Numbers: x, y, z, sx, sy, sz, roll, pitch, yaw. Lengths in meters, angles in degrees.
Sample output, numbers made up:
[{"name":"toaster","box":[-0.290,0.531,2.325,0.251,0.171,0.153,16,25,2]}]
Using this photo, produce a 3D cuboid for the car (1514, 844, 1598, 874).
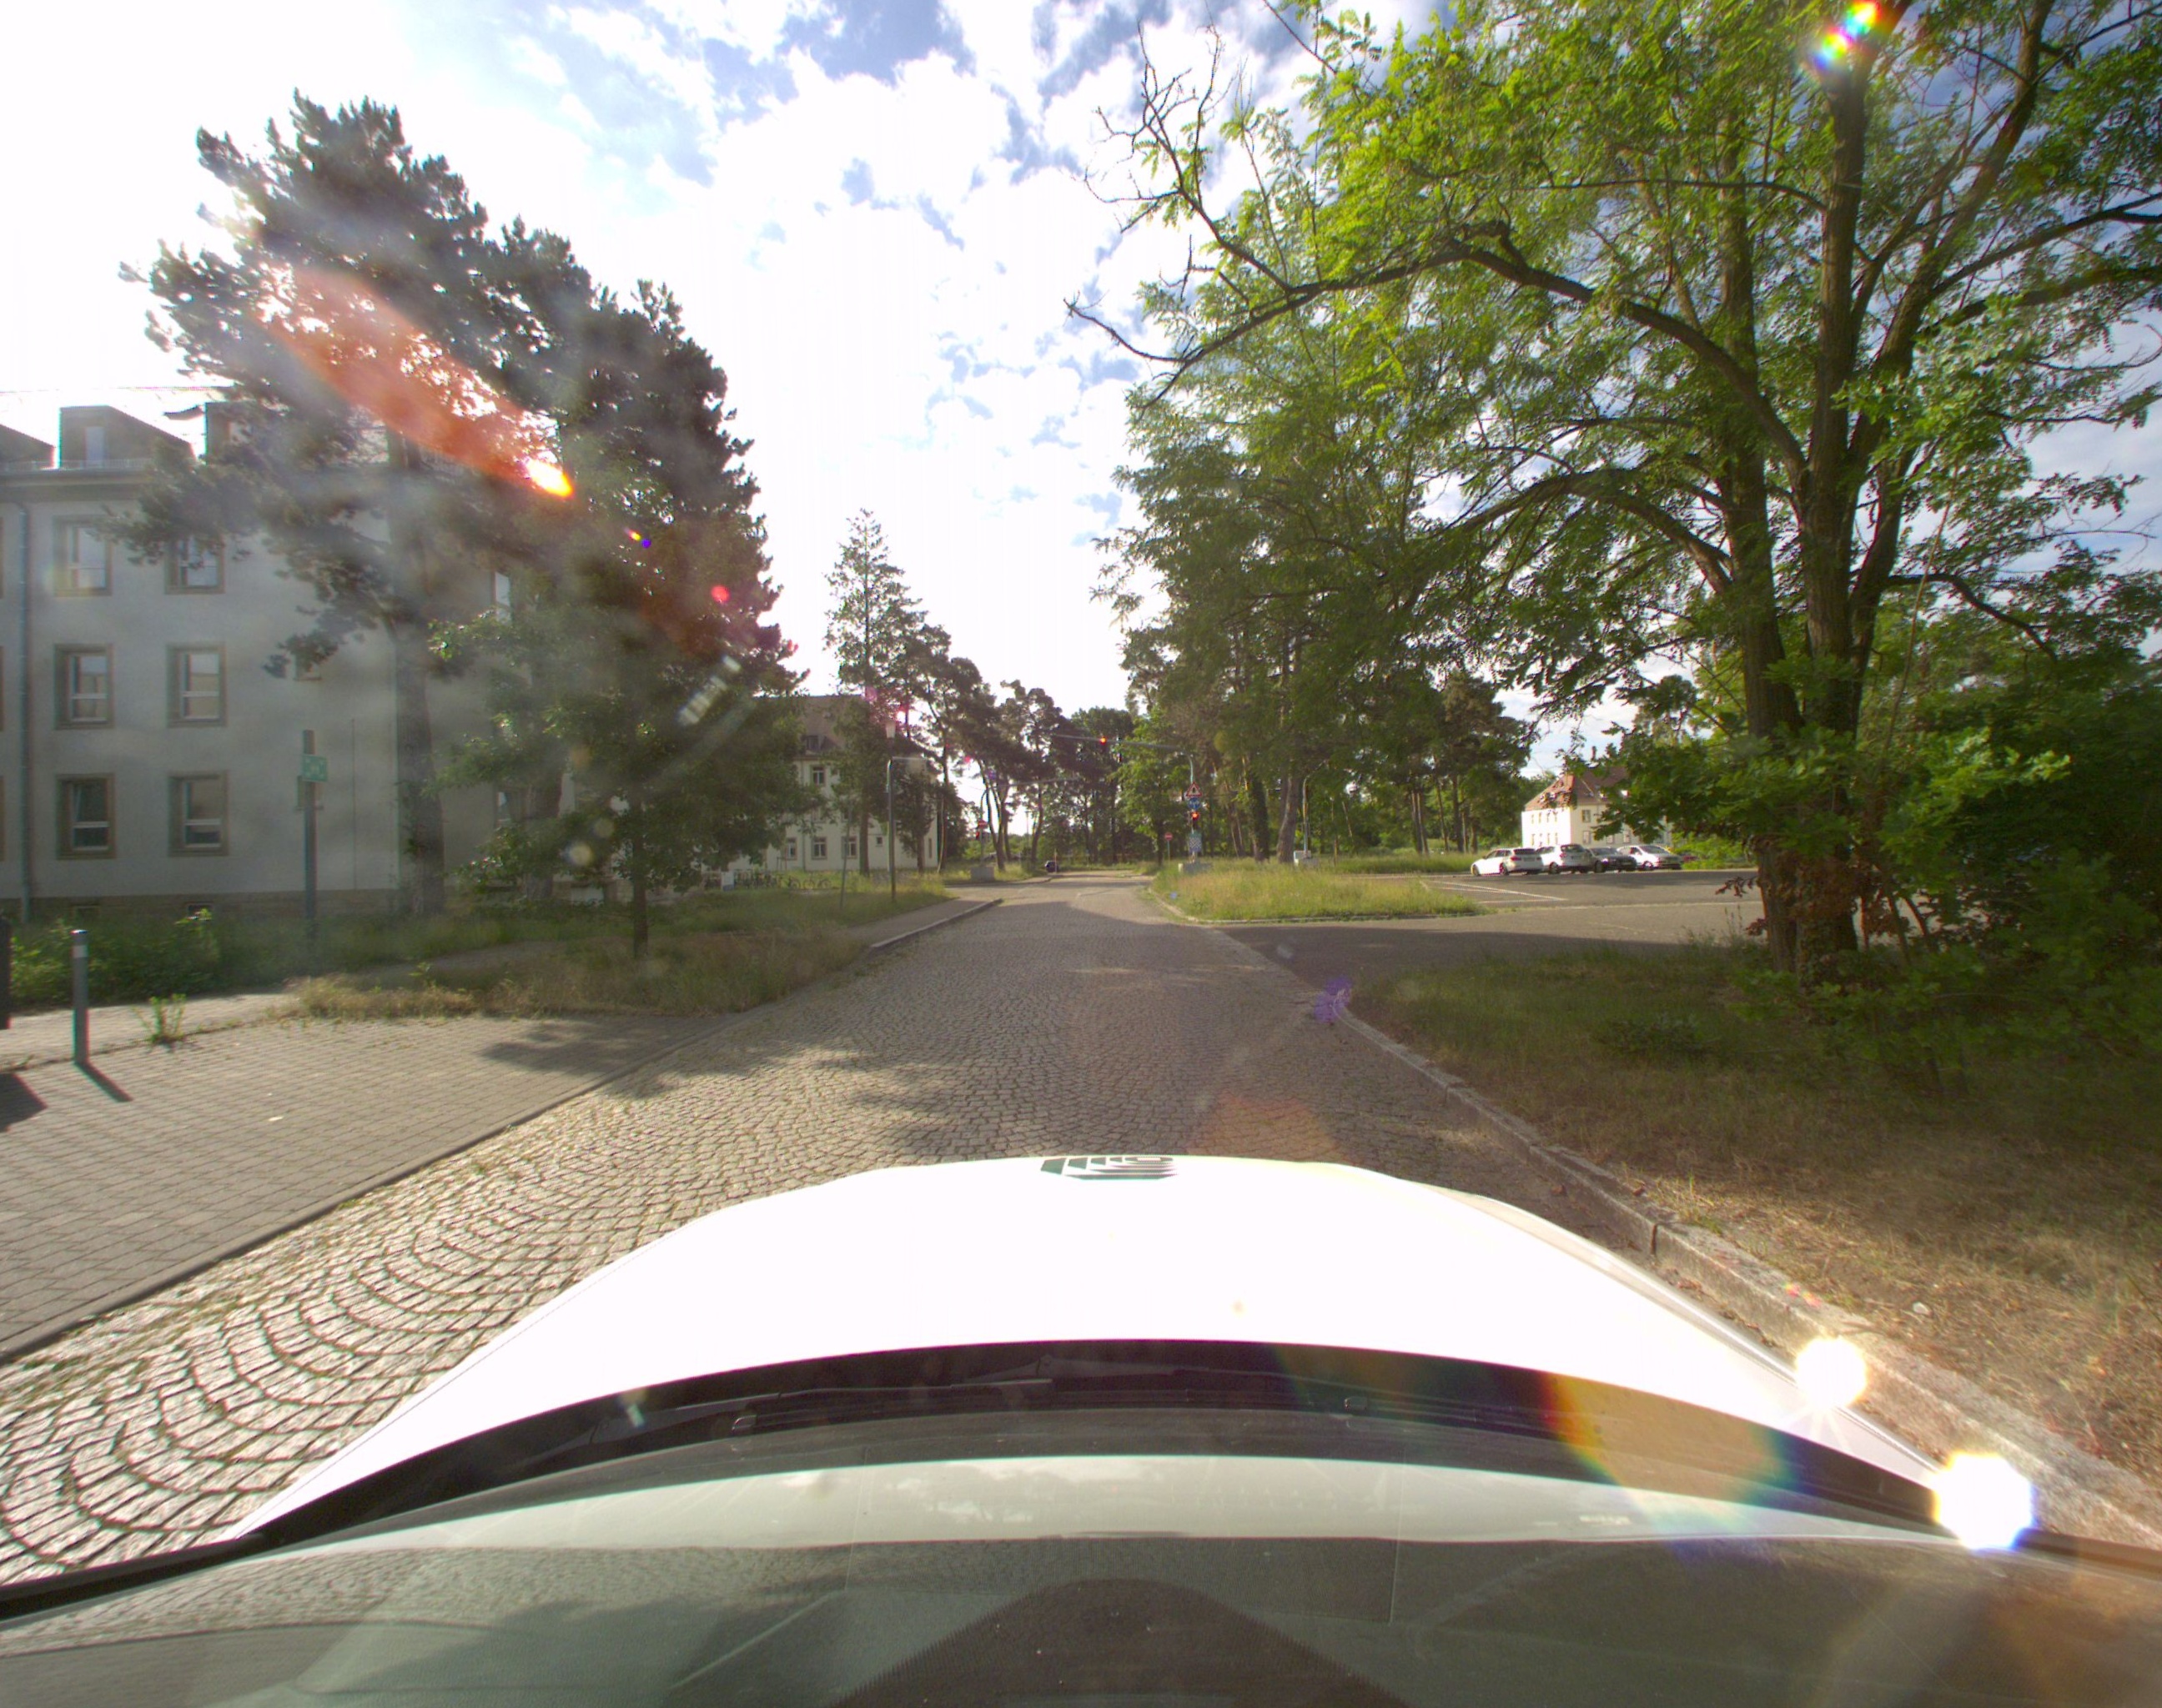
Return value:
[{"name":"car","box":[24.707,0.271,42.568,1.726,1.476,4.328,-2,0,-2]}]

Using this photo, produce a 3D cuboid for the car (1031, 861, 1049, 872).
[{"name":"car","box":[-5.571,1.714,111.007,1.772,1.490,3.764,-2,0,8]}]

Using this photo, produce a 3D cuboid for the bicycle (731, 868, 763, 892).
[{"name":"bicycle","box":[-20.615,1.581,50.356,0.823,1.437,2.554,-2,0,1]}]

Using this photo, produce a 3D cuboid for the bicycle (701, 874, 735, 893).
[{"name":"bicycle","box":[-22.288,1.794,50.064,0.897,1.047,2.554,-2,0,1]}]

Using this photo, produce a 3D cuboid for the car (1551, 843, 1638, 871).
[{"name":"car","box":[26.960,0.151,42.936,1.726,1.312,4.328,-3,0,-2]}]

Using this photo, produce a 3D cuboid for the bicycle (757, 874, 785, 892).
[{"name":"bicycle","box":[-19.046,1.781,50.044,0.823,1.047,2.124,-2,0,1]}]

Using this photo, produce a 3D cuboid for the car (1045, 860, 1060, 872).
[{"name":"car","box":[-3.658,1.606,106.217,1.840,1.486,3.998,-2,0,-1]}]

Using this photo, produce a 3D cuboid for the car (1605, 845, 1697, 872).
[{"name":"car","box":[30.061,0.225,43.112,1.726,1.312,4.328,-2,0,-2]}]

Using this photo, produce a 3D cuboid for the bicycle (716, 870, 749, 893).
[{"name":"bicycle","box":[-21.391,1.674,50.059,0.823,1.281,2.554,-2,0,1]}]

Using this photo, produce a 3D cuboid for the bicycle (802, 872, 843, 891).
[{"name":"bicycle","box":[-15.500,1.625,48.862,2.112,1.047,0.828,-2,-1,-3]}]

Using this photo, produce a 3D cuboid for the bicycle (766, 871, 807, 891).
[{"name":"bicycle","box":[-17.623,1.635,48.783,2.112,1.108,0.828,-2,-1,-3]}]

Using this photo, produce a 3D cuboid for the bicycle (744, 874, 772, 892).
[{"name":"bicycle","box":[-19.828,1.784,50.006,0.823,1.047,2.124,-2,0,1]}]

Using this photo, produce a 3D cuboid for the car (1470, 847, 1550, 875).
[{"name":"car","box":[22.188,0.367,42.279,1.726,1.312,4.328,-2,0,-2]}]
